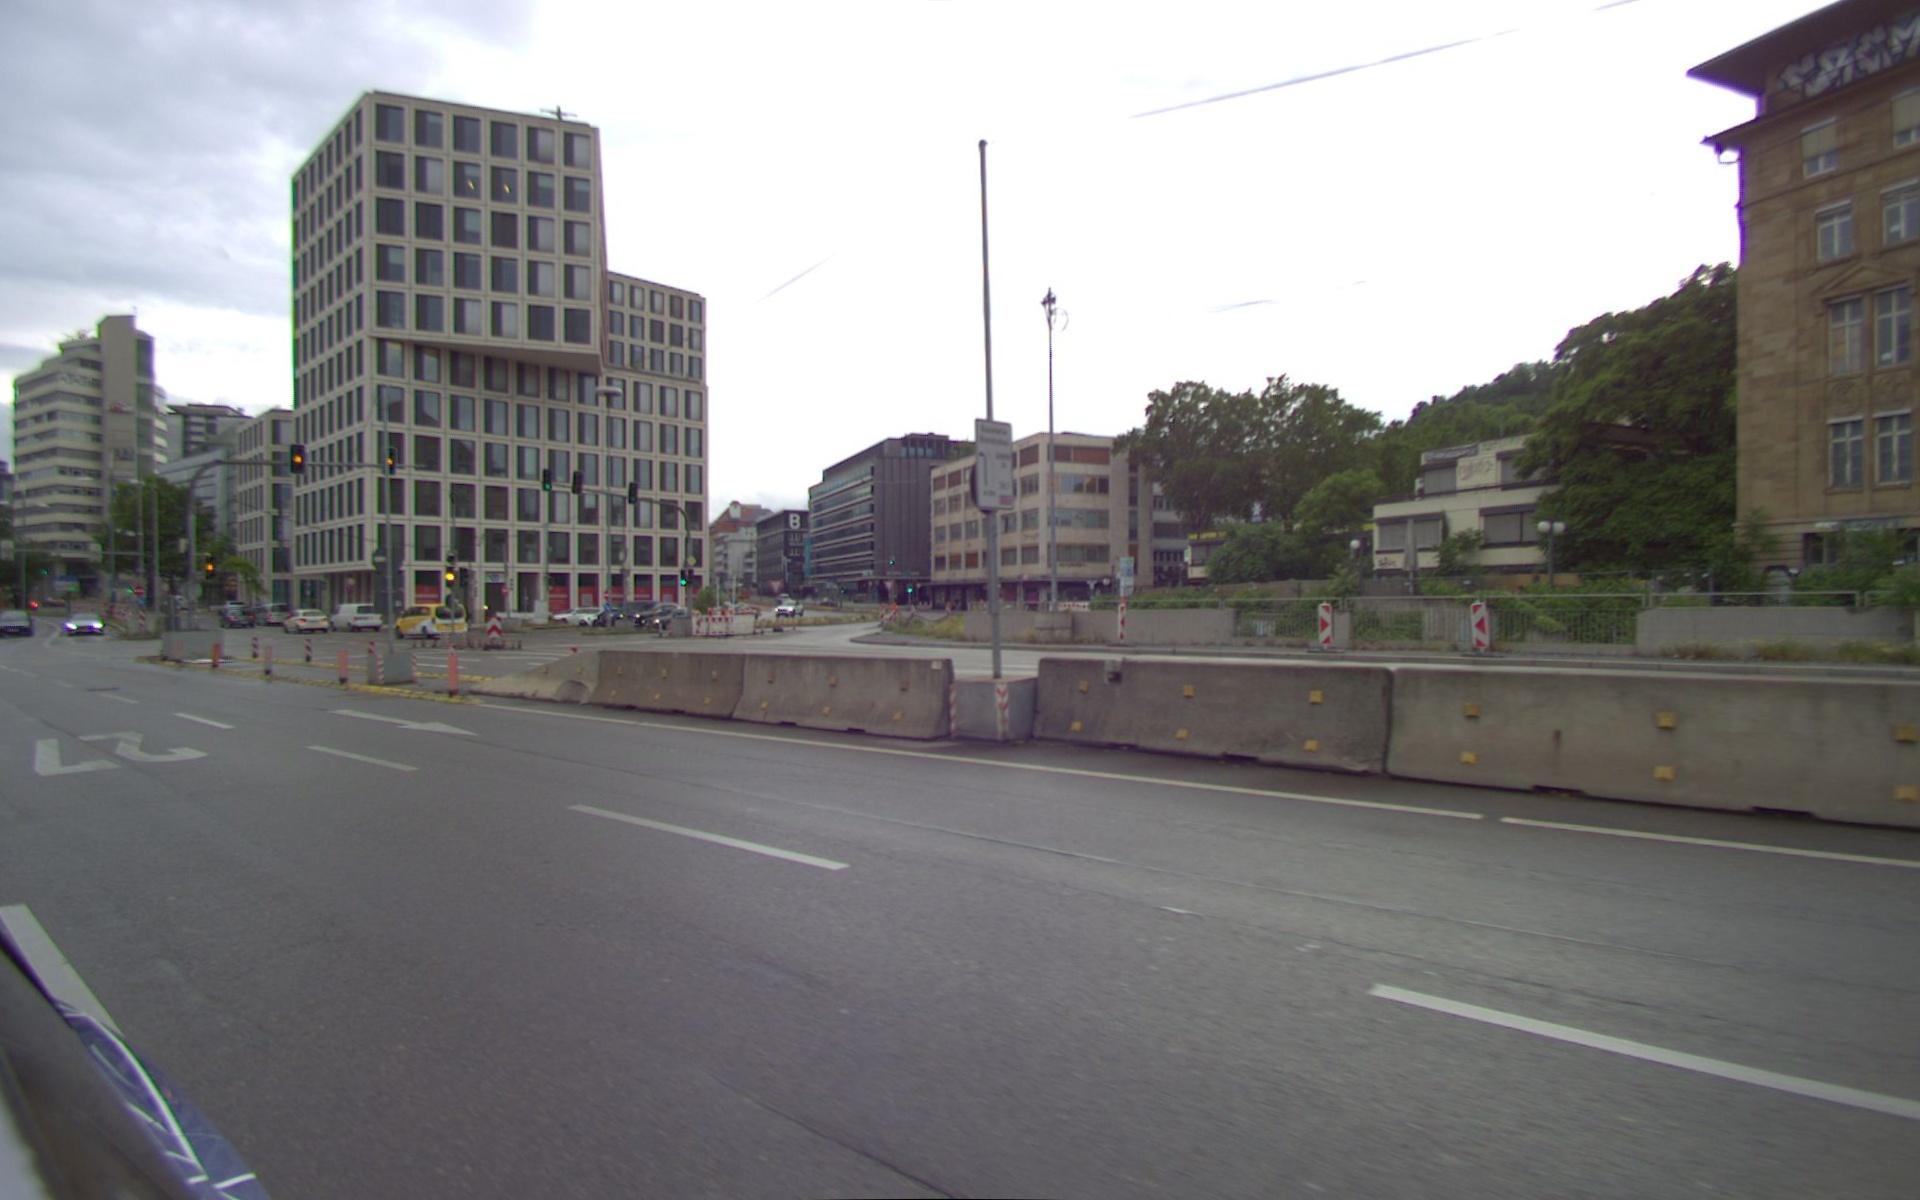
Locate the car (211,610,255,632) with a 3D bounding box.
[{"bbox_3d":[-58.096,1.657,80.838,4.177,1.610,1.827,-1,1,40],"label":"car"}]

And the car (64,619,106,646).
[{"bbox_3d":[-57.223,2.095,66.249,1.986,1.610,4.671,-1,1,-40],"label":"car"}]

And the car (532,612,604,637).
[{"bbox_3d":[-30.301,1.903,78.324,2.228,1.766,4.748,-1,0,40],"label":"car"}]

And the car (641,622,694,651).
[{"bbox_3d":[-18.833,2.343,65.357,1.678,1.710,3.986,-1,0,11],"label":"car"}]

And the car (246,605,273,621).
[{"bbox_3d":[-69.490,1.297,100.349,1.838,1.534,4.007,-1,0,-40],"label":"car"}]

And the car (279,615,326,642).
[{"bbox_3d":[-44.640,1.909,68.676,4.382,1.686,1.821,-1,1,45],"label":"car"}]

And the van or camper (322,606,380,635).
[{"bbox_3d":[-42.668,1.388,70.895,5.208,1.908,1.863,-1,1,40],"label":"van or camper"}]

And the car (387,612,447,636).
[{"bbox_3d":[-41.338,1.794,77.122,3.930,1.741,1.744,-1,0,-23],"label":"car"}]

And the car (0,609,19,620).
[{"bbox_3d":[-137.176,2.065,145.743,4.177,1.610,1.827,-1,1,40],"label":"car"}]

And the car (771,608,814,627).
[{"bbox_3d":[-16.229,1.690,98.267,1.851,1.729,4.087,-2,-1,31],"label":"car"}]

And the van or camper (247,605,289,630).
[{"bbox_3d":[-58.205,1.441,85.133,4.252,1.993,1.827,-1,1,40],"label":"van or camper"}]

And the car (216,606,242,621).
[{"bbox_3d":[-78.044,1.451,108.083,1.839,1.534,4.005,-1,0,-42],"label":"car"}]

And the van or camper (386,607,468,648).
[{"bbox_3d":[-28.983,1.465,54.912,5.608,2.070,2.215,-1,1,43],"label":"van or camper"}]

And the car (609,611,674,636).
[{"bbox_3d":[-21.297,1.539,67.771,1.830,1.497,3.956,-1,1,32],"label":"car"}]

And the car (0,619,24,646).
[{"bbox_3d":[-60.479,2.046,63.825,1.989,1.610,4.666,-2,1,-45],"label":"car"}]

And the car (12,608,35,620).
[{"bbox_3d":[-130.363,1.991,140.877,4.177,1.610,1.827,-1,1,40],"label":"car"}]

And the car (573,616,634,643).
[{"bbox_3d":[-26.890,2.171,76.480,1.806,1.829,3.942,0,1,44],"label":"car"}]

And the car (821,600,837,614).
[{"bbox_3d":[-19.993,1.070,154.452,1.966,2.029,4.011,-1,0,-14],"label":"car"}]

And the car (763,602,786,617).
[{"bbox_3d":[-23.352,1.210,127.385,1.825,1.729,4.144,-1,-1,-24],"label":"car"}]
